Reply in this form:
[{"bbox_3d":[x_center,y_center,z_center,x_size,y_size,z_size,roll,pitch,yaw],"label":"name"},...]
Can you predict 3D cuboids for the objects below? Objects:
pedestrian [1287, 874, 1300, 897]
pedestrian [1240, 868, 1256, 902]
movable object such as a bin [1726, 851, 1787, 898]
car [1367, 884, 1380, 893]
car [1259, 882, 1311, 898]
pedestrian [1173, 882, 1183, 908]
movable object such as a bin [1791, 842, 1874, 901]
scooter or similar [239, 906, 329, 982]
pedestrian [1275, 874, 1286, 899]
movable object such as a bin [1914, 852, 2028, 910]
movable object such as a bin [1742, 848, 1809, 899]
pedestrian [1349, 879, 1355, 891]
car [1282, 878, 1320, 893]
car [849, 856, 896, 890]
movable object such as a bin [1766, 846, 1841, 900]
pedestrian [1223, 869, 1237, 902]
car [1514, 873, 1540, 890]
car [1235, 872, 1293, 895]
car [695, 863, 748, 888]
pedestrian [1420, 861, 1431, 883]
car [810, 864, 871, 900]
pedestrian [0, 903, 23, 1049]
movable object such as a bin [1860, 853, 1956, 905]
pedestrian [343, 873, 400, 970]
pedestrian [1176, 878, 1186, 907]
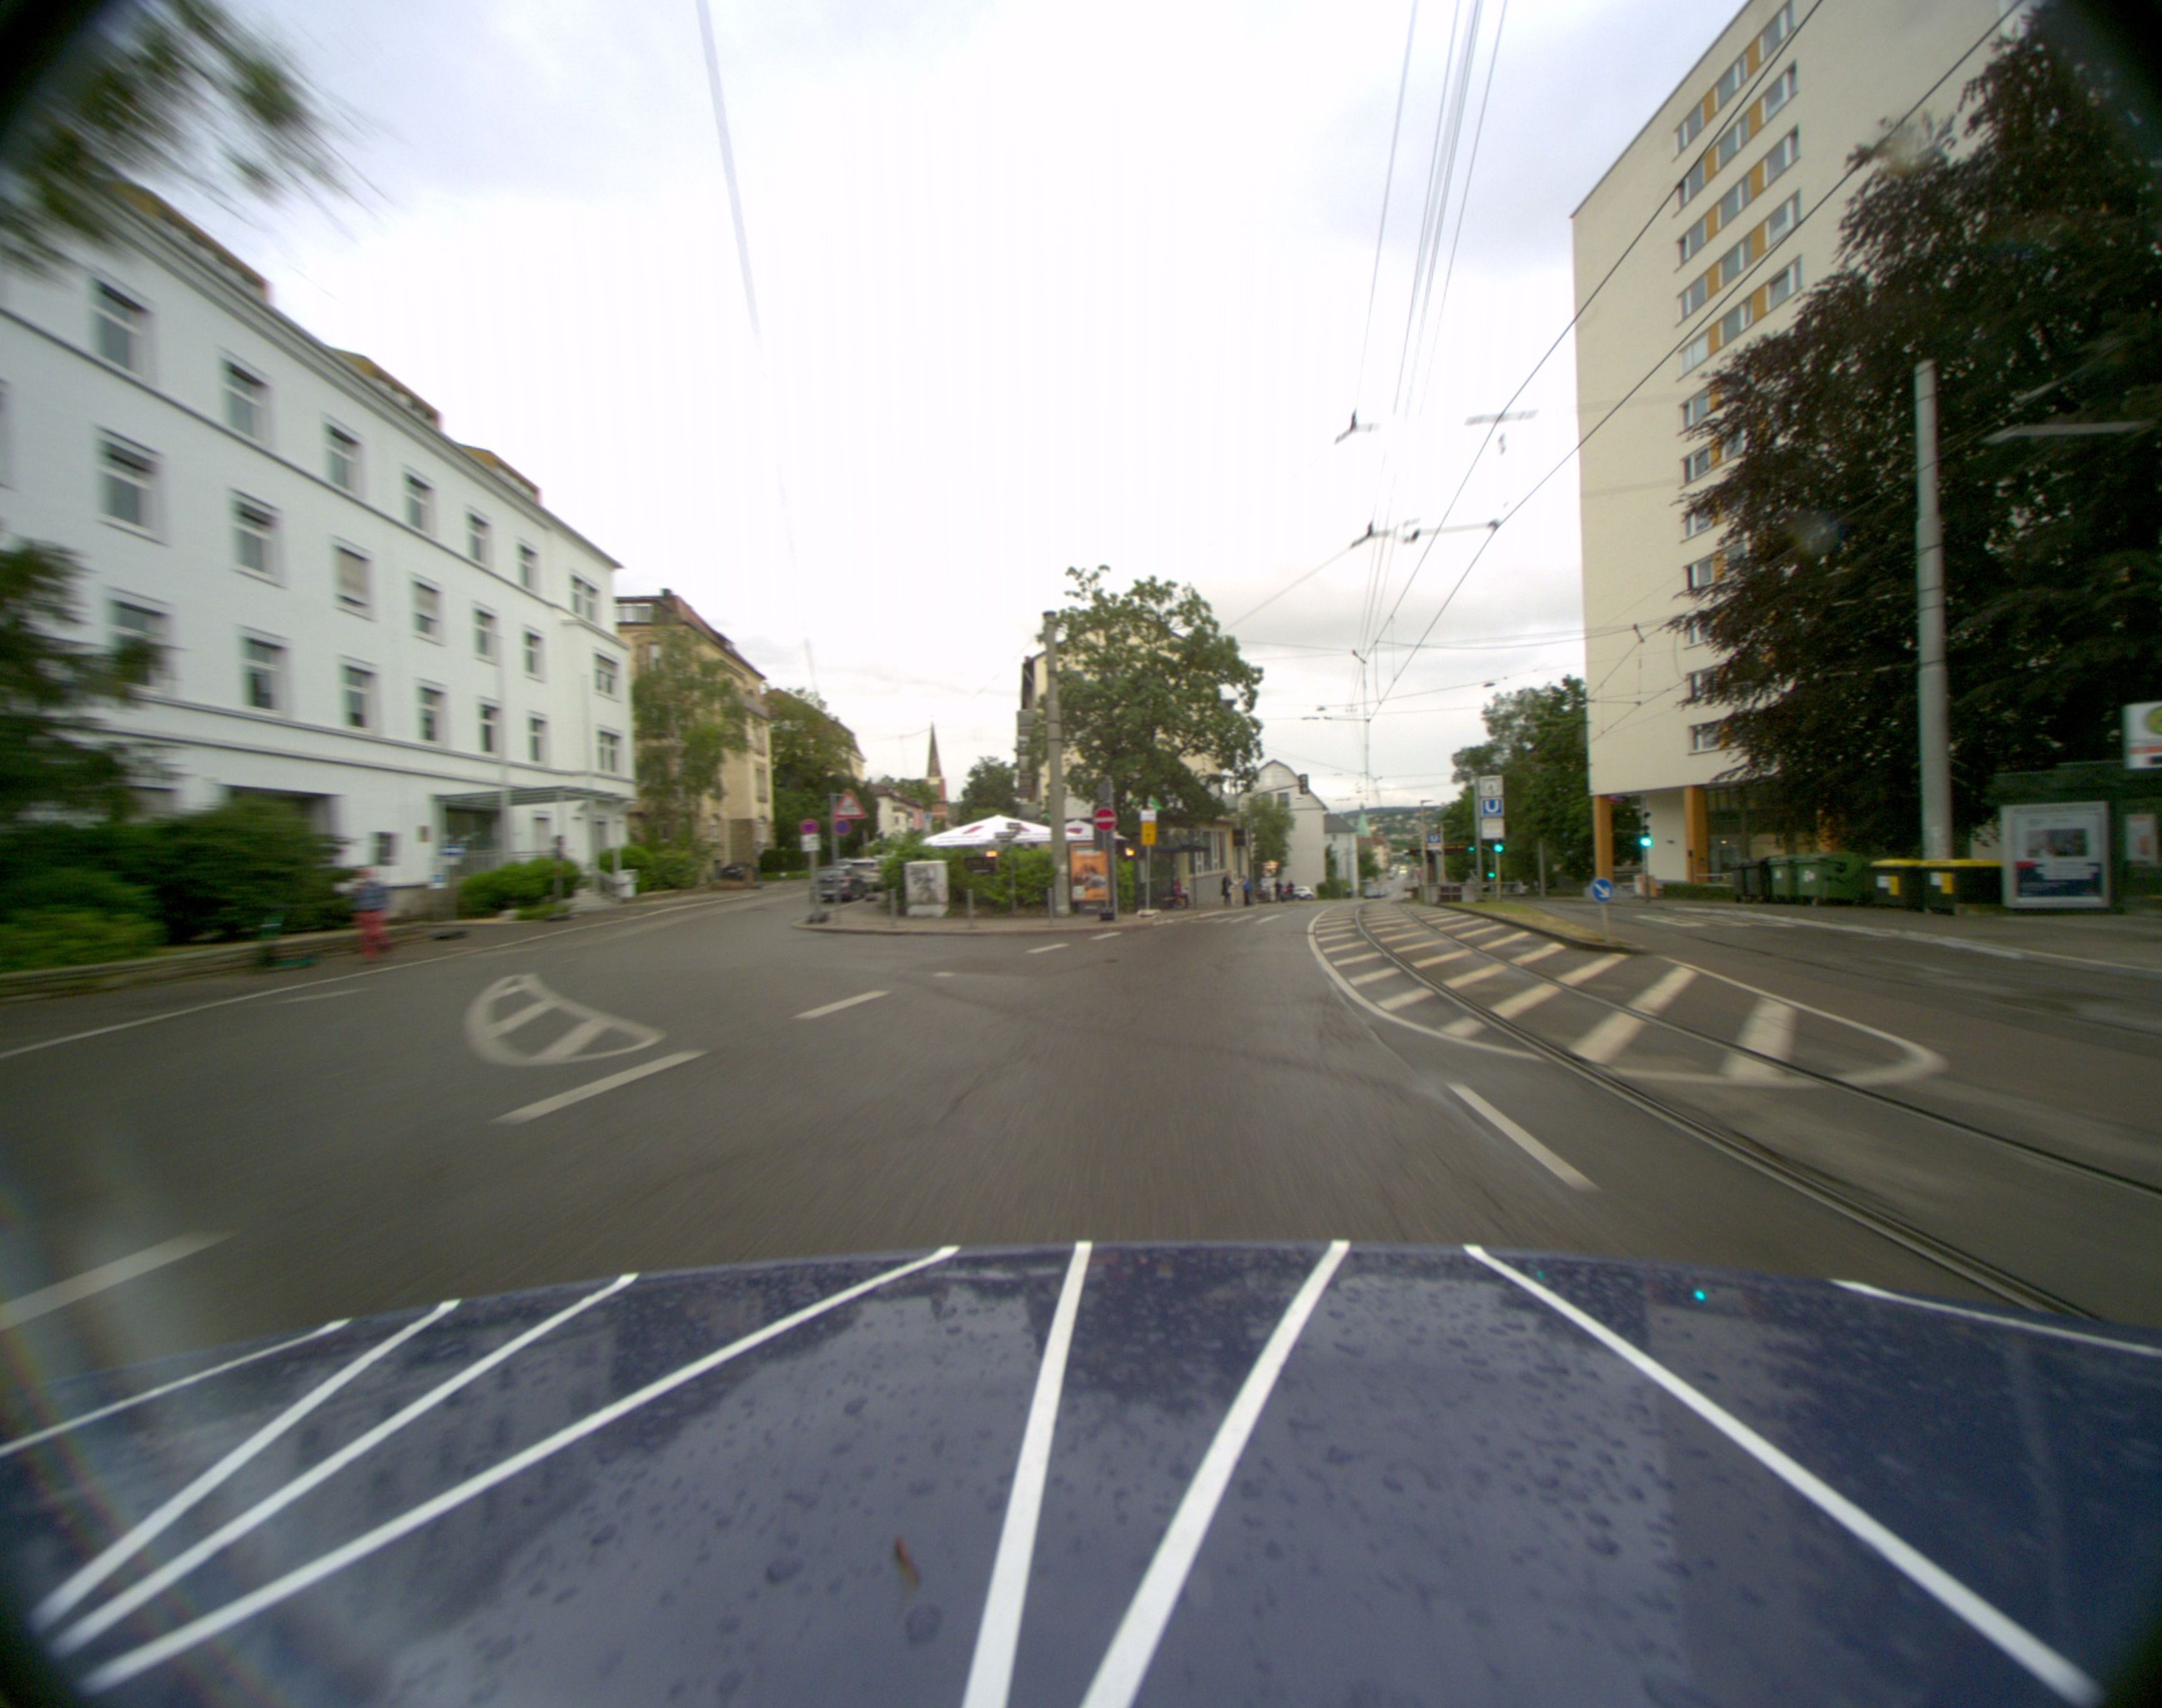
[{"bbox_3d":[15.844,2.335,56.667,0.719,1.703,0.610,0,-2,32],"label":"pedestrian"},{"bbox_3d":[7.859,1.459,35.727,0.588,1.544,0.651,0,-2,22],"label":"pedestrian"},{"bbox_3d":[21.377,0.662,24.094,1.022,1.424,1.307,-4,-3,24],"label":"movable object such as a bin"},{"bbox_3d":[46.437,5.538,120.573,1.723,1.349,4.008,-3,-3,24],"label":"car"},{"bbox_3d":[21.632,3.778,80.573,4.936,1.427,1.978,-4,-2,23],"label":"car"},{"bbox_3d":[3.777,1.593,29.557,0.325,0.989,0.318,1,-2,19],"label":"pedestrian"},{"bbox_3d":[19.452,0.484,19.711,1.022,1.424,1.430,-4,-3,24],"label":"movable object such as a bin"},{"bbox_3d":[-15.200,1.688,14.522,0.464,1.283,1.101,-2,2,0],"label":"scooter or similar"},{"bbox_3d":[14.241,2.319,54.208,0.579,1.703,0.615,-3,-3,19],"label":"pedestrian"},{"bbox_3d":[18.679,0.578,15.996,1.022,1.131,1.345,-4,-4,24],"label":"movable object such as a bin"},{"bbox_3d":[20.812,0.594,22.808,1.022,1.424,1.358,-4,-3,24],"label":"movable object such as a bin"},{"bbox_3d":[36.927,4.244,103.678,0.656,1.610,0.631,-2,-2,28],"label":"pedestrian"},{"bbox_3d":[24.799,3.567,85.500,3.992,1.459,1.818,-2,3,18],"label":"car"},{"bbox_3d":[-10.655,0.959,39.065,1.693,1.680,3.803,-1,-1,-5],"label":"car"},{"bbox_3d":[20.235,0.543,21.337,1.022,1.424,1.447,-4,-3,24],"label":"movable object such as a bin"},{"bbox_3d":[7.073,1.478,36.056,0.546,1.544,0.560,0,-2,20],"label":"pedestrian"},{"bbox_3d":[47.502,2.929,80.974,1.748,1.706,4.450,-2,-3,22],"label":"car"},{"bbox_3d":[14.972,2.415,62.277,4.331,1.663,1.784,1,-3,24],"label":"car"},{"bbox_3d":[-21.911,1.332,46.453,1.599,1.332,3.636,-2,-3,-3],"label":"car"},{"bbox_3d":[24.704,1.285,54.490,0.671,1.538,0.773,-2,-3,22],"label":"pedestrian"},{"bbox_3d":[-10.206,1.159,32.530,1.693,1.433,3.803,-1,-1,-5],"label":"car"},{"bbox_3d":[-12.916,1.421,8.652,0.746,1.689,0.672,-1,-2,-16],"label":"pedestrian"},{"bbox_3d":[19.351,0.604,17.824,1.022,1.131,1.345,-4,-4,24],"label":"movable object such as a bin"},{"bbox_3d":[-14.646,1.371,15.698,0.544,1.912,0.915,-1,1,-23],"label":"pedestrian"},{"bbox_3d":[3.938,1.522,29.926,0.325,1.143,0.318,1,-2,19],"label":"pedestrian"}]
